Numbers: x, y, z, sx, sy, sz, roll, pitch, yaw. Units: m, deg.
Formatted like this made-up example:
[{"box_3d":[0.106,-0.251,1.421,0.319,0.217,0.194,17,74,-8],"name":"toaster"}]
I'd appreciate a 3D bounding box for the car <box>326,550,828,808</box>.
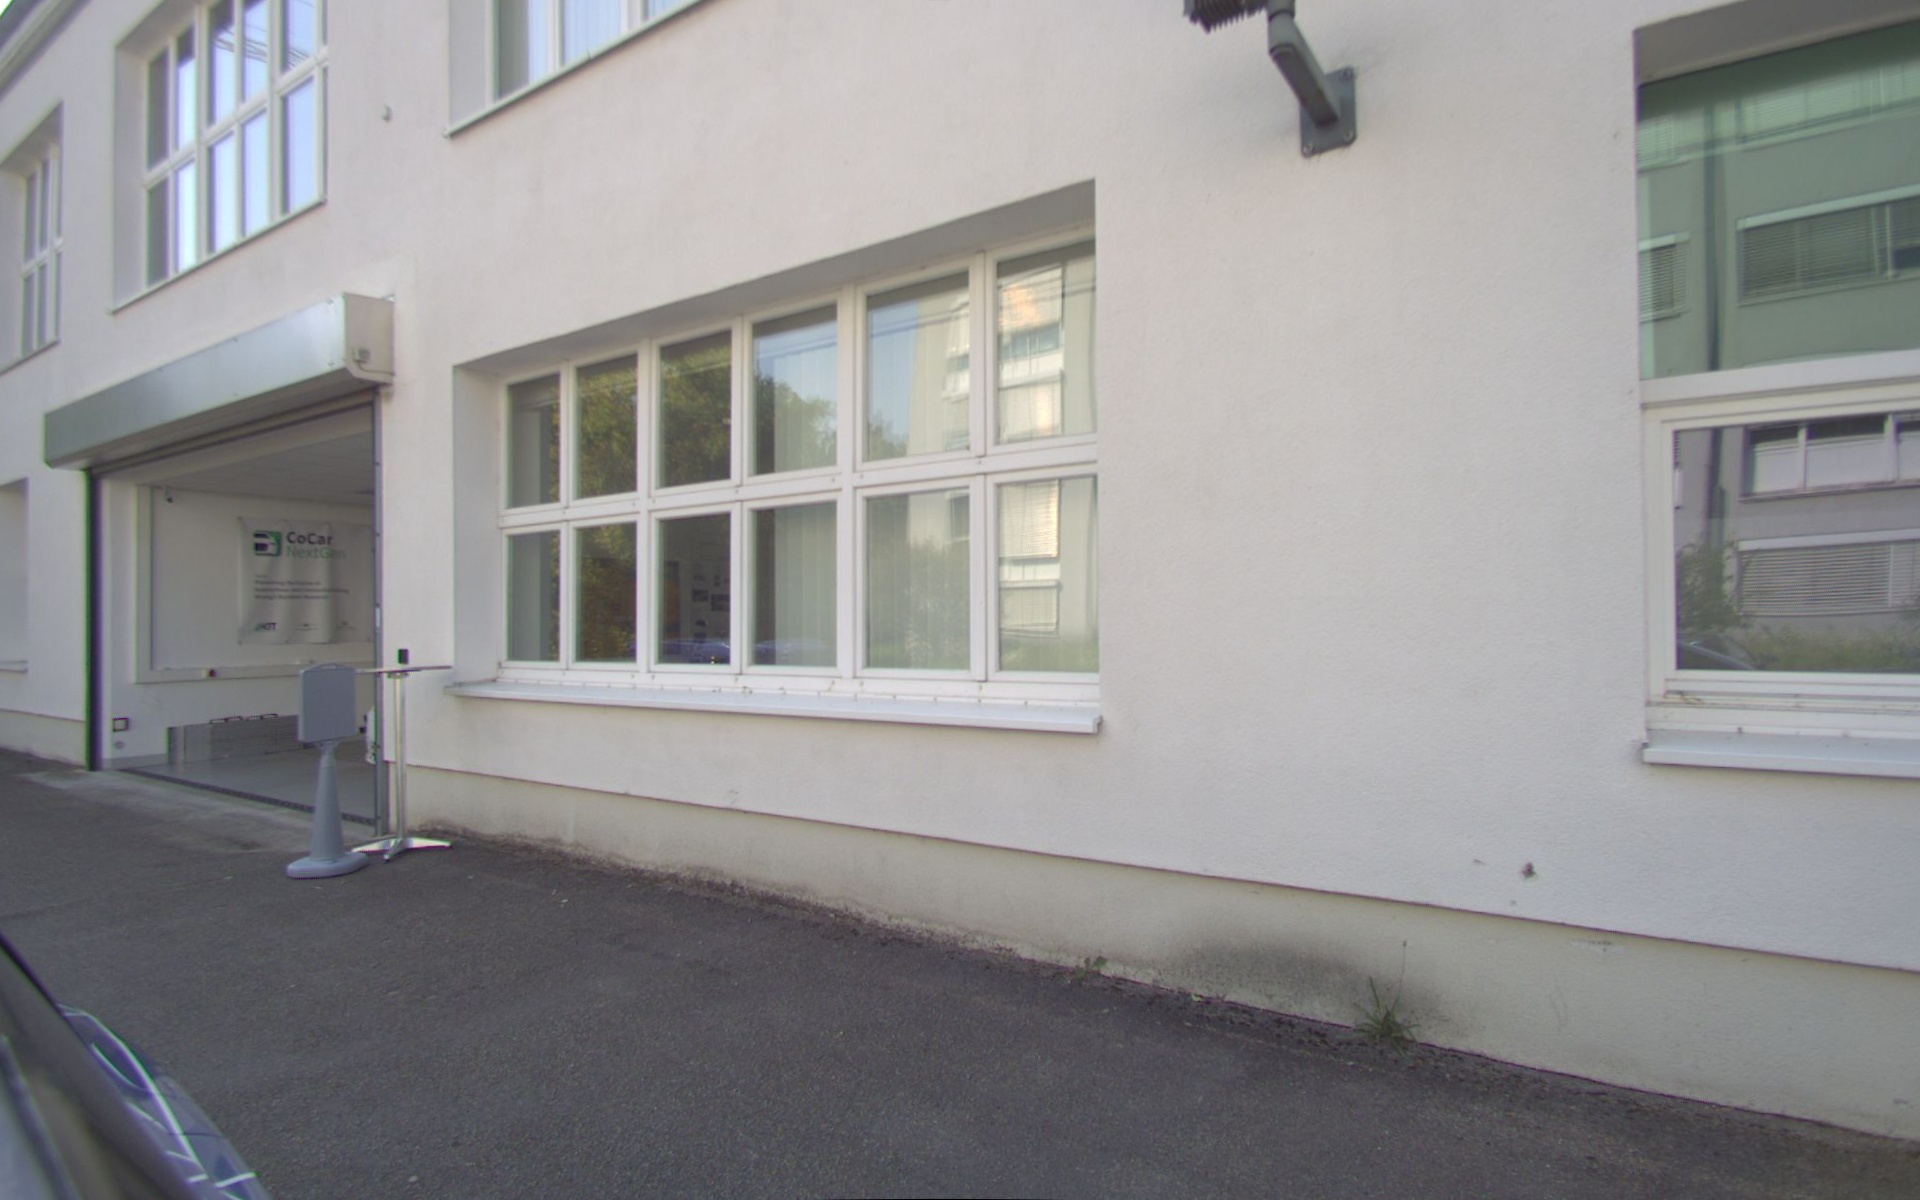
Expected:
[{"box_3d":[-3.757,0.652,10.801,2.050,2.108,4.707,-1,0,34],"name":"car"}]
